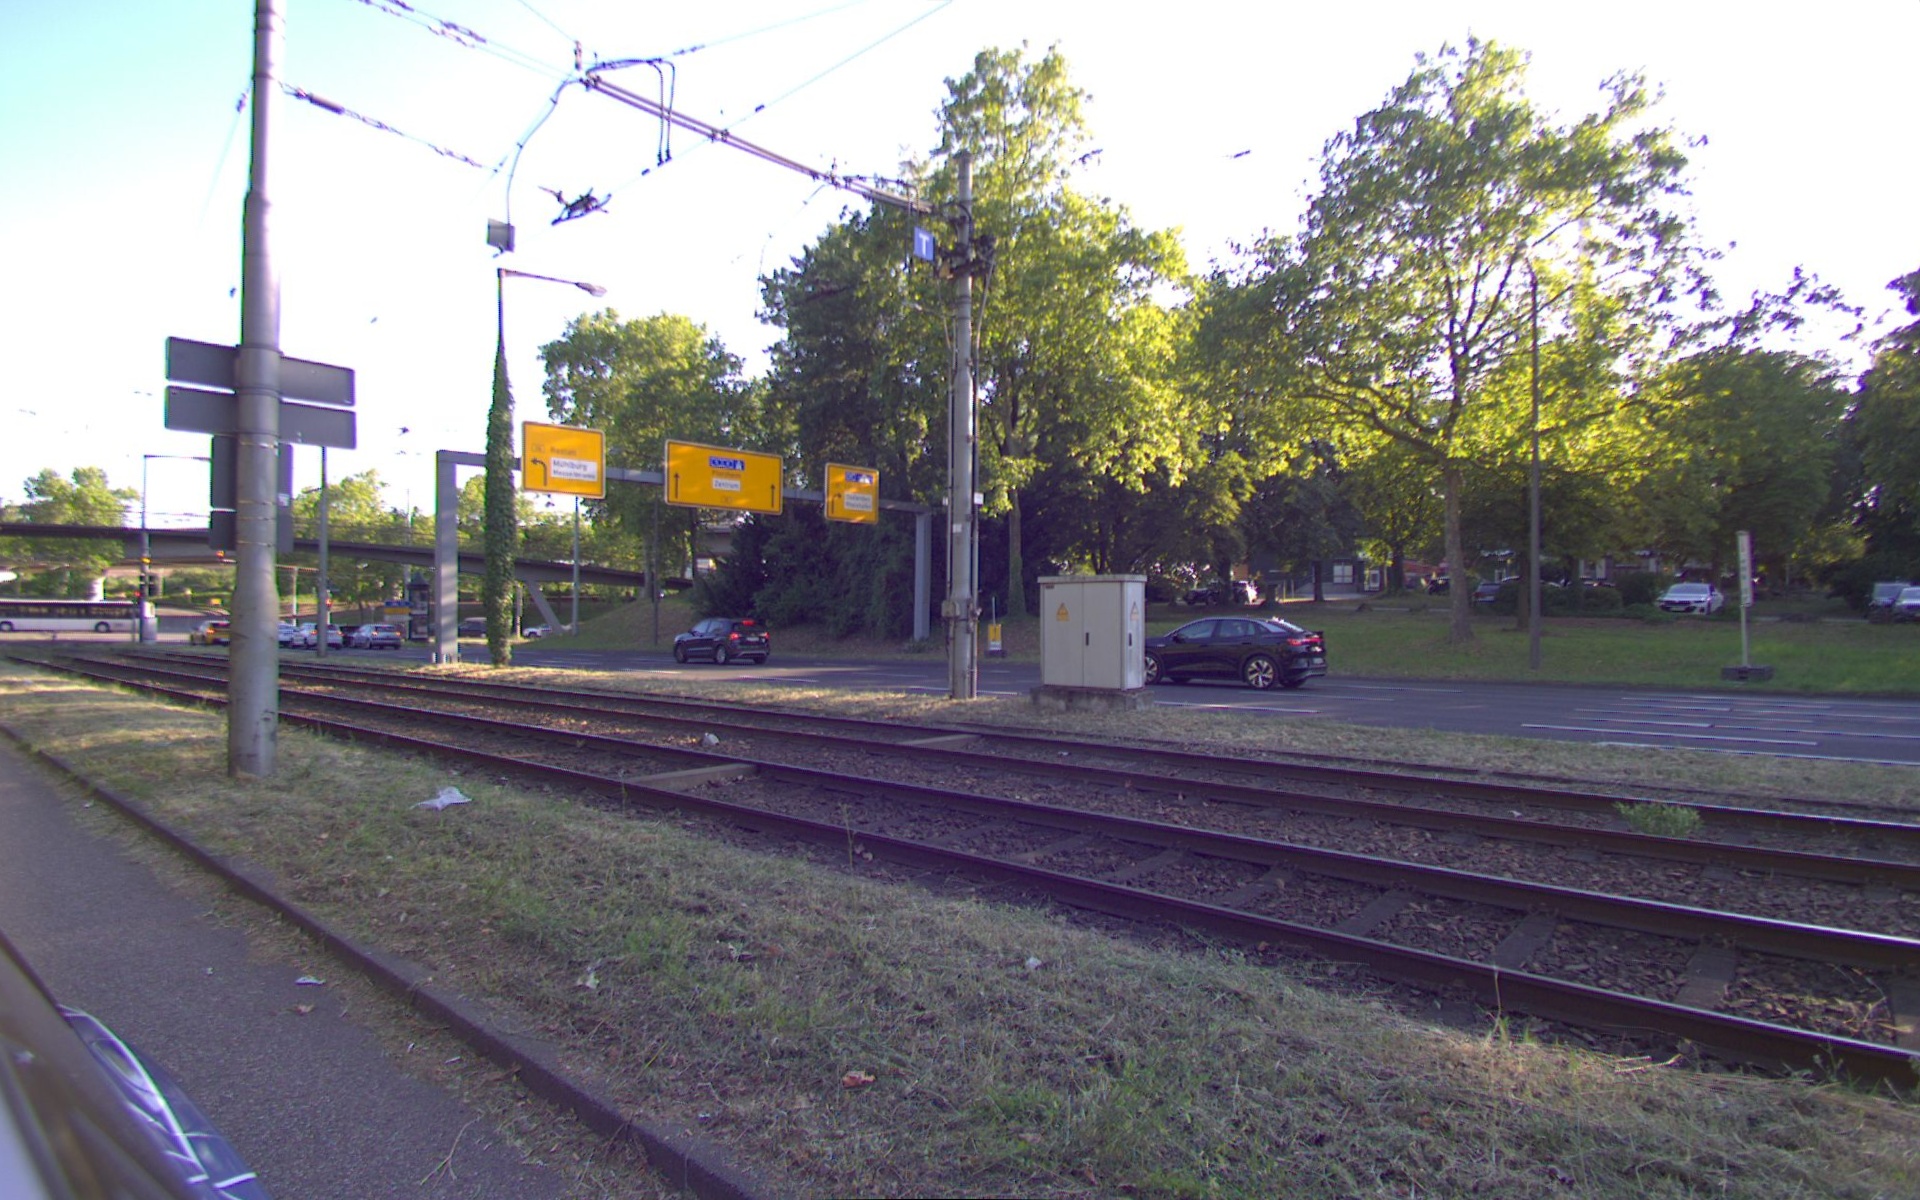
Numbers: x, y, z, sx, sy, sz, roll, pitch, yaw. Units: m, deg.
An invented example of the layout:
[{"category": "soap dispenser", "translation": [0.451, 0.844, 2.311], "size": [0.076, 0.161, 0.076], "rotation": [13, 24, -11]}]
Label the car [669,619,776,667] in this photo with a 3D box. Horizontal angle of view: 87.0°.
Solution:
[{"category": "car", "translation": [-8.263, 1.478, 35.025], "size": [3.973, 1.569, 1.732], "rotation": [-2, -3, 43]}]

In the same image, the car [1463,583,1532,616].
[{"category": "car", "translation": [26.158, -0.047, 49.192], "size": [1.942, 1.521, 4.039], "rotation": [0, 0, 44]}]

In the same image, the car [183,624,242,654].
[{"category": "car", "translation": [-40.816, 2.118, 55.255], "size": [3.997, 1.556, 1.744], "rotation": [-1, -1, 40]}]

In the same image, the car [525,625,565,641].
[{"category": "car", "translation": [-44.015, 3.455, 107.325], "size": [3.747, 1.591, 1.683], "rotation": [-1, 0, -26]}]

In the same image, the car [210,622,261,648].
[{"category": "car", "translation": [-45.851, 2.177, 64.043], "size": [4.228, 1.561, 1.892], "rotation": [-1, -2, 44]}]

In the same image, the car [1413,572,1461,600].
[{"category": "car", "translation": [33.542, -0.998, 71.068], "size": [2.290, 1.864, 5.214], "rotation": [-1, 1, 34]}]

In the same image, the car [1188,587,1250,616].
[{"category": "car", "translation": [15.382, 0.058, 59.962], "size": [1.791, 1.657, 3.942], "rotation": [-1, -1, 44]}]

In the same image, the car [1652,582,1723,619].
[{"category": "car", "translation": [31.550, 0.000, 43.851], "size": [1.942, 1.521, 4.039], "rotation": [0, 0, 44]}]

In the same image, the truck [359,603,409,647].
[{"category": "truck", "translation": [-40.317, 1.735, 70.768], "size": [2.248, 2.901, 6.895], "rotation": [0, -1, -37]}]

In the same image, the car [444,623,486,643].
[{"category": "car", "translation": [-50.798, 3.353, 103.913], "size": [3.748, 1.872, 1.682], "rotation": [-1, 0, -30]}]

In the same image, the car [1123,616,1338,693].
[{"category": "car", "translation": [5.932, 1.151, 22.513], "size": [4.332, 1.556, 1.713], "rotation": [-1, -2, 41]}]

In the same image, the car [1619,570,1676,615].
[{"category": "car", "translation": [36.873, -0.403, 54.246], "size": [2.161, 2.320, 4.348], "rotation": [0, 0, 40]}]

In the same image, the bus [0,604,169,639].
[{"category": "bus", "translation": [-80.557, 1.906, 92.279], "size": [12.967, 2.884, 2.424], "rotation": [-1, 0, -29]}]

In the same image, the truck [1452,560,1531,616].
[{"category": "truck", "translation": [31.730, -0.691, 60.291], "size": [2.503, 3.191, 6.137], "rotation": [0, 0, 45]}]

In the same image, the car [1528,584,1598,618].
[{"category": "car", "translation": [28.414, 0.013, 47.663], "size": [1.942, 1.521, 4.039], "rotation": [0, 0, 44]}]

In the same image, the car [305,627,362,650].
[{"category": "car", "translation": [-39.776, 2.426, 64.229], "size": [4.224, 1.435, 1.844], "rotation": [-1, -1, 40]}]

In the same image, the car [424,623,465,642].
[{"category": "car", "translation": [-53.861, 3.375, 105.717], "size": [3.748, 1.872, 1.682], "rotation": [-1, 0, -30]}]

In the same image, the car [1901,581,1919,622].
[{"category": "car", "translation": [37.570, 0.034, 38.900], "size": [1.942, 1.521, 4.039], "rotation": [0, 0, 44]}]

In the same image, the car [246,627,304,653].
[{"category": "car", "translation": [-40.587, 2.330, 59.954], "size": [4.226, 1.435, 1.893], "rotation": [-1, -1, 42]}]

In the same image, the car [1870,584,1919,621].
[{"category": "car", "translation": [43.957, 0.093, 47.234], "size": [3.998, 1.628, 1.864], "rotation": [-1, 0, -43]}]

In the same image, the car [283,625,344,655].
[{"category": "car", "translation": [-35.753, 2.199, 55.956], "size": [3.997, 1.556, 1.744], "rotation": [-1, -1, 40]}]

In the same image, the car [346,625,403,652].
[{"category": "car", "translation": [-34.975, 2.284, 60.413], "size": [3.998, 1.556, 1.789], "rotation": [-1, -1, 41]}]

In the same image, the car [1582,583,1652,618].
[{"category": "car", "translation": [30.023, 0.004, 46.226], "size": [1.942, 1.521, 4.039], "rotation": [0, 0, 44]}]
